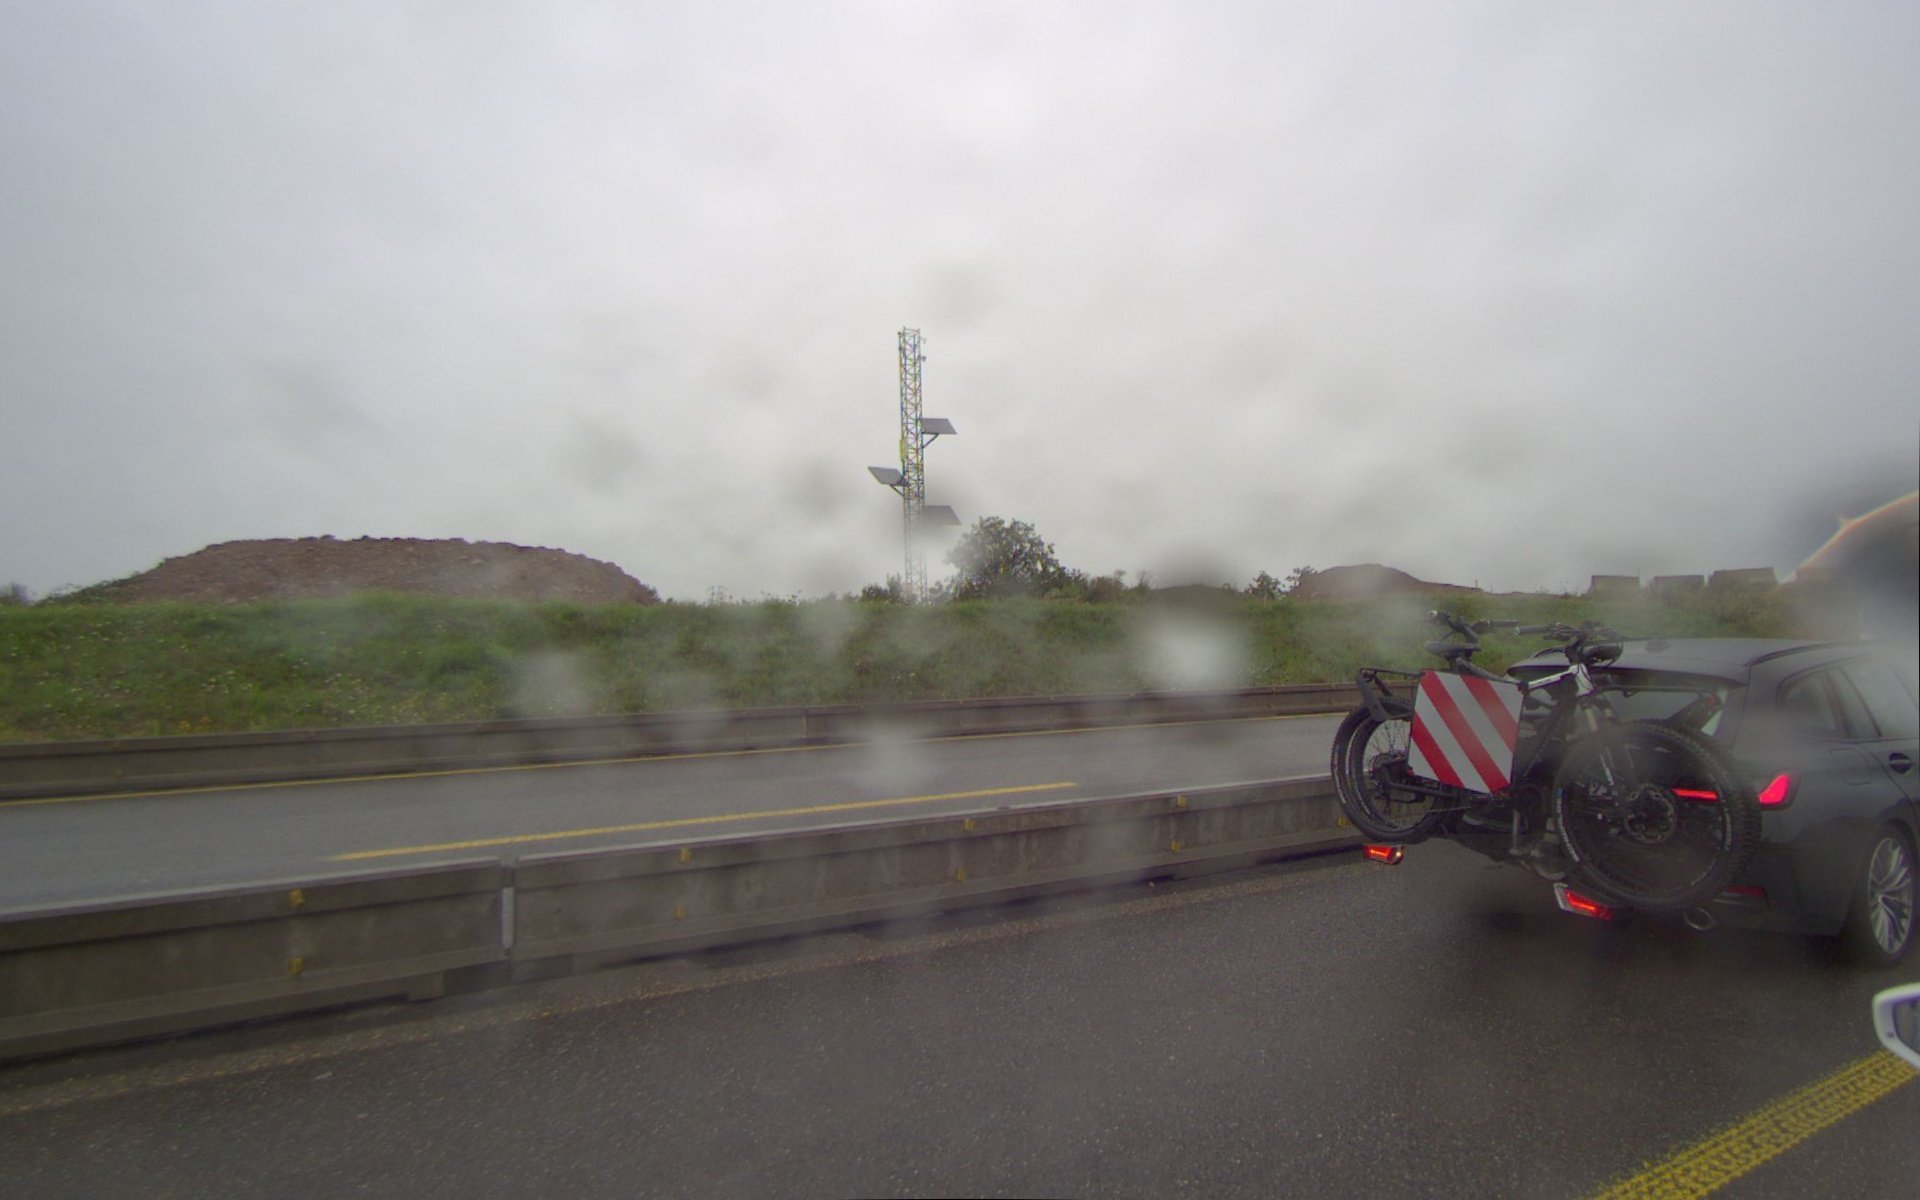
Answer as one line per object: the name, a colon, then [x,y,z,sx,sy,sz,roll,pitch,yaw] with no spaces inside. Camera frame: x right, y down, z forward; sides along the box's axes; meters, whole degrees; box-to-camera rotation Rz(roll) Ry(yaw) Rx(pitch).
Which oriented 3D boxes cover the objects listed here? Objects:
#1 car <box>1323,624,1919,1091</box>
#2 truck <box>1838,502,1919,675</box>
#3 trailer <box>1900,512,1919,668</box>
car: [4.642,0.947,5.659,5.562,1.482,1.727,-1,0,-30]
truck: [25.060,-0.266,25.148,5.745,4.089,2.778,0,0,-27]
trailer: [31.585,-0.248,28.572,13.564,4.089,2.769,0,0,-28]
